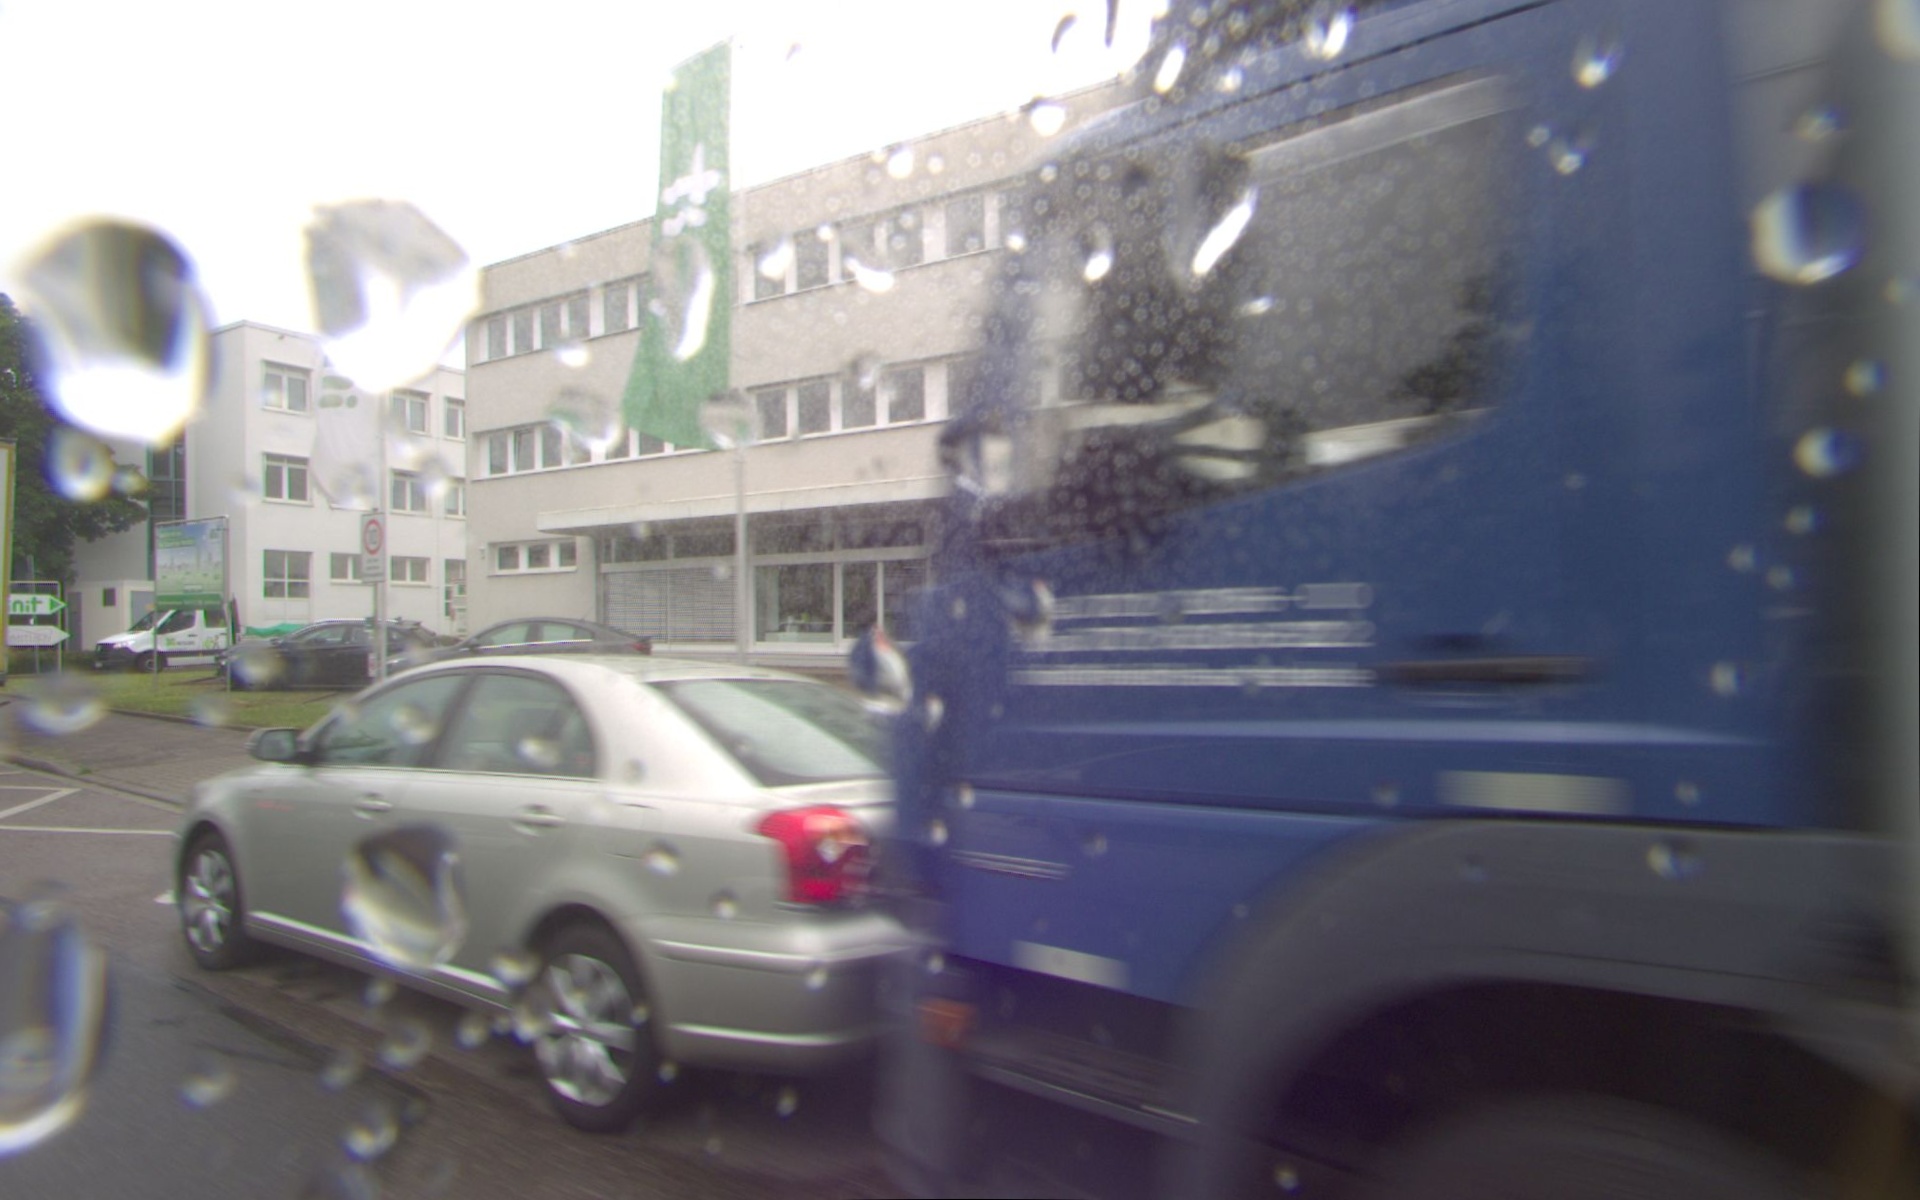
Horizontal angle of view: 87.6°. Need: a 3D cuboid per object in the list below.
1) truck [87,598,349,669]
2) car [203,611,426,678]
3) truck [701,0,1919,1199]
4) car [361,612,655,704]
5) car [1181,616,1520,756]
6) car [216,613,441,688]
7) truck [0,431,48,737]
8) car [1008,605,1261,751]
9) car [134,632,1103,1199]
[{"bbox_3d":[-24.926,1.083,34.052,2.065,2.167,6.909,0,-1,33],"label":"truck"},{"bbox_3d":[-14.984,1.041,23.488,4.079,1.434,1.687,2,1,-18],"label":"car"},{"bbox_3d":[4.104,-0.386,0.748,9.166,3.836,2.738,-1,-3,32],"label":"truck"},{"bbox_3d":[-7.945,0.975,18.023,4.597,1.487,1.787,0,-1,-21],"label":"car"},{"bbox_3d":[4.176,0.838,11.461,1.675,1.303,3.996,0,-1,-13],"label":"car"},{"bbox_3d":[-13.410,1.078,21.510,3.716,1.414,1.724,3,-2,-18],"label":"car"},{"bbox_3d":[-15.163,-0.190,13.310,7.645,3.656,2.736,-1,-3,35],"label":"truck"},{"bbox_3d":[1.820,0.783,11.677,1.675,1.411,3.765,0,-1,-11],"label":"car"},{"bbox_3d":[-1.695,0.898,4.471,4.282,1.460,1.794,-1,-1,31],"label":"car"}]
